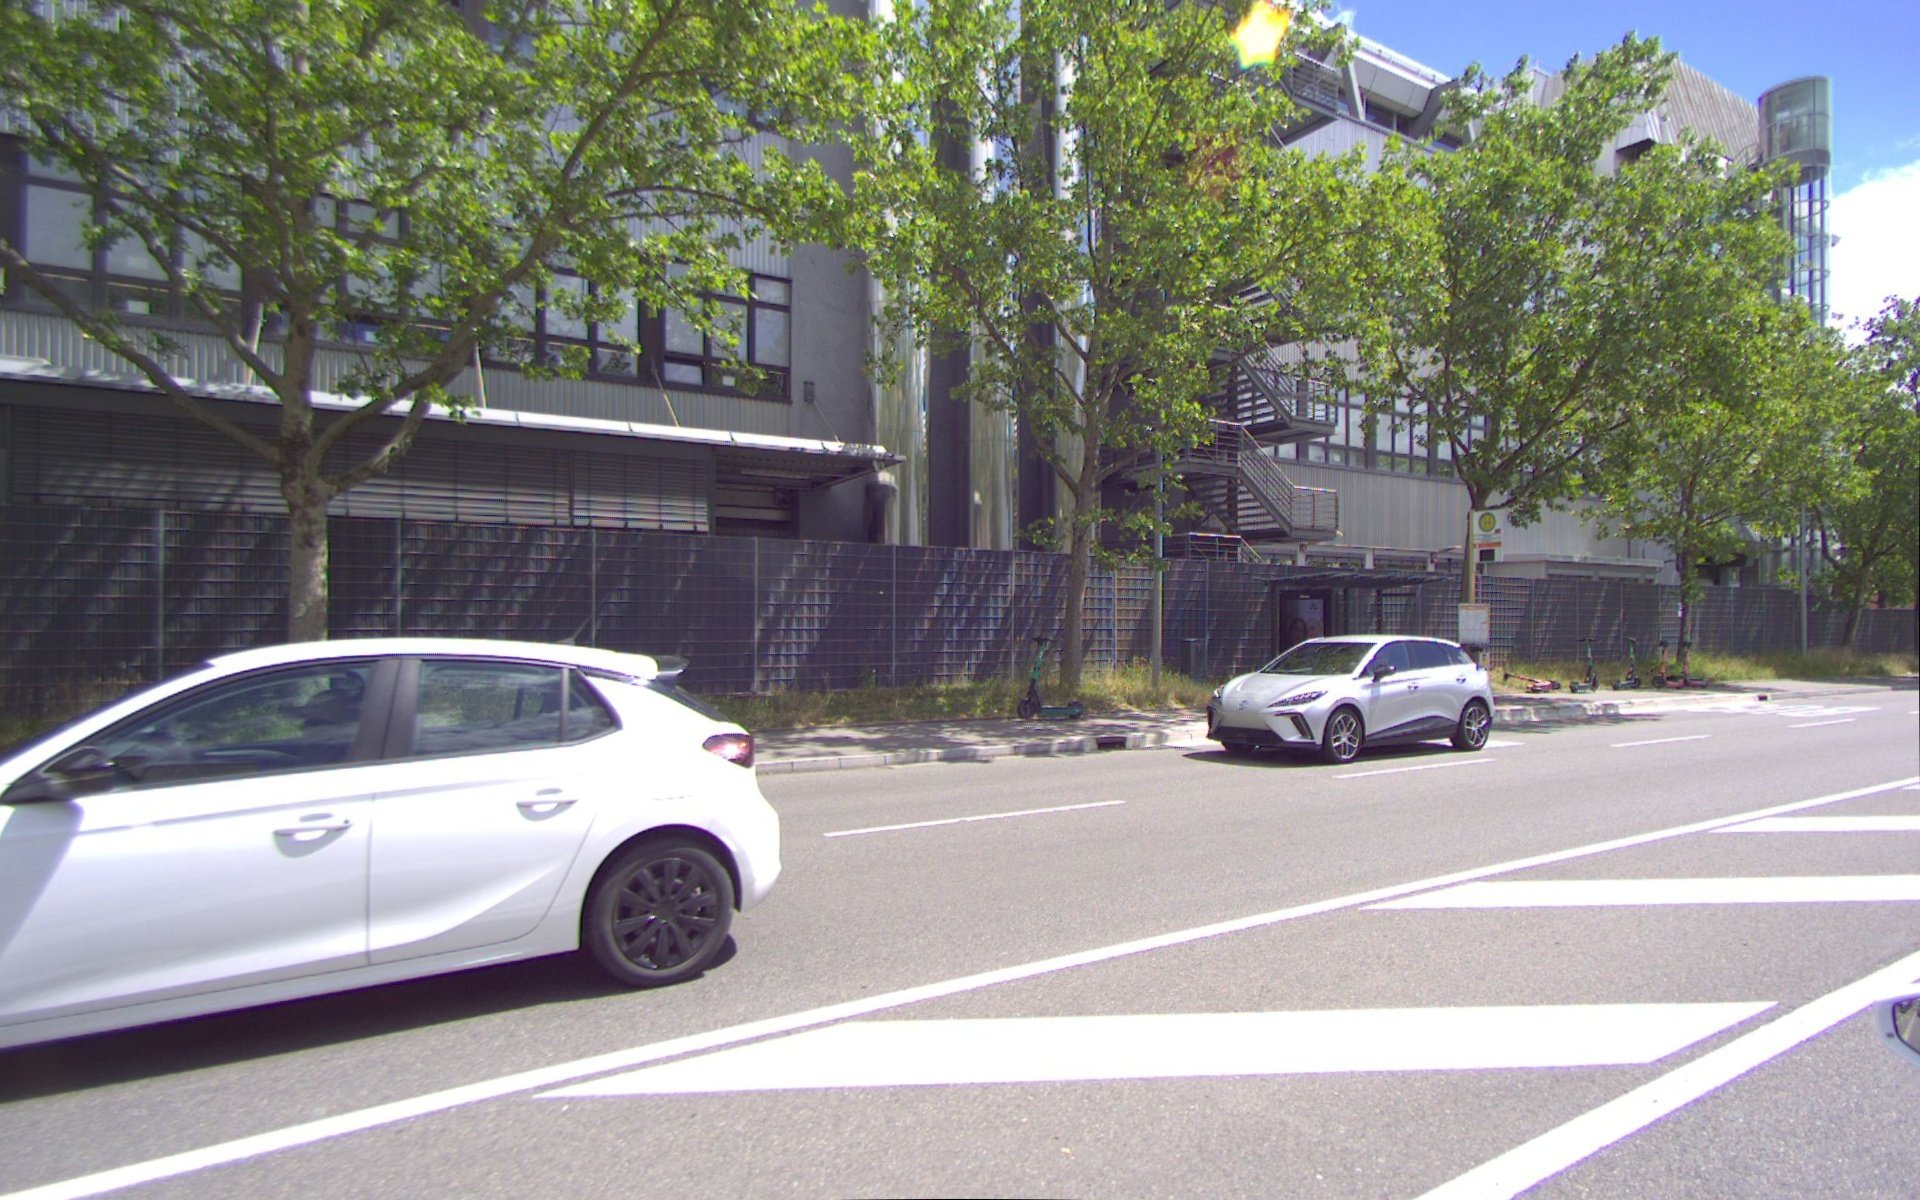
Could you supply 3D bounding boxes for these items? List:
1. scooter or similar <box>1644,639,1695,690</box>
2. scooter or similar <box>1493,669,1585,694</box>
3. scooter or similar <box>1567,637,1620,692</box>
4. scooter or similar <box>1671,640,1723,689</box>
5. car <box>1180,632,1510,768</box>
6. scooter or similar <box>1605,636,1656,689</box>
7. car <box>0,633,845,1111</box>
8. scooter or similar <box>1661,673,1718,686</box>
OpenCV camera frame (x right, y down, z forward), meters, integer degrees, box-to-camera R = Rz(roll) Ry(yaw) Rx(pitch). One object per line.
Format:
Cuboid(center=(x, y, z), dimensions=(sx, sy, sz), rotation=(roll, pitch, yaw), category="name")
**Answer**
Cuboid(center=(18.558, 1.680, 26.269), dimensions=(1.302, 1.251, 0.520), rotation=(0, 3, -30), category="scooter or similar")
Cuboid(center=(13.854, 1.936, 24.081), dimensions=(1.460, 0.385, 1.364), rotation=(2, 2, 4), category="scooter or similar")
Cuboid(center=(15.386, 1.552, 24.384), dimensions=(1.303, 1.251, 0.520), rotation=(0, 3, -32), category="scooter or similar")
Cuboid(center=(19.753, 1.708, 26.928), dimensions=(1.300, 1.251, 0.521), rotation=(1, 2, -25), category="scooter or similar")
Cuboid(center=(5.096, 1.199, 13.196), dimensions=(4.141, 1.525, 1.870), rotation=(1, -3, -30), category="car")
Cuboid(center=(16.740, 1.546, 25.072), dimensions=(1.303, 1.251, 0.520), rotation=(0, 3, -32), category="scooter or similar")
Cuboid(center=(-2.689, 0.868, 4.151), dimensions=(4.098, 1.433, 1.683), rotation=(1, -3, -31), category="car")
Cuboid(center=(20.166, 2.204, 27.783), dimensions=(1.248, 0.327, 0.538), rotation=(1, 0, -6), category="scooter or similar")
